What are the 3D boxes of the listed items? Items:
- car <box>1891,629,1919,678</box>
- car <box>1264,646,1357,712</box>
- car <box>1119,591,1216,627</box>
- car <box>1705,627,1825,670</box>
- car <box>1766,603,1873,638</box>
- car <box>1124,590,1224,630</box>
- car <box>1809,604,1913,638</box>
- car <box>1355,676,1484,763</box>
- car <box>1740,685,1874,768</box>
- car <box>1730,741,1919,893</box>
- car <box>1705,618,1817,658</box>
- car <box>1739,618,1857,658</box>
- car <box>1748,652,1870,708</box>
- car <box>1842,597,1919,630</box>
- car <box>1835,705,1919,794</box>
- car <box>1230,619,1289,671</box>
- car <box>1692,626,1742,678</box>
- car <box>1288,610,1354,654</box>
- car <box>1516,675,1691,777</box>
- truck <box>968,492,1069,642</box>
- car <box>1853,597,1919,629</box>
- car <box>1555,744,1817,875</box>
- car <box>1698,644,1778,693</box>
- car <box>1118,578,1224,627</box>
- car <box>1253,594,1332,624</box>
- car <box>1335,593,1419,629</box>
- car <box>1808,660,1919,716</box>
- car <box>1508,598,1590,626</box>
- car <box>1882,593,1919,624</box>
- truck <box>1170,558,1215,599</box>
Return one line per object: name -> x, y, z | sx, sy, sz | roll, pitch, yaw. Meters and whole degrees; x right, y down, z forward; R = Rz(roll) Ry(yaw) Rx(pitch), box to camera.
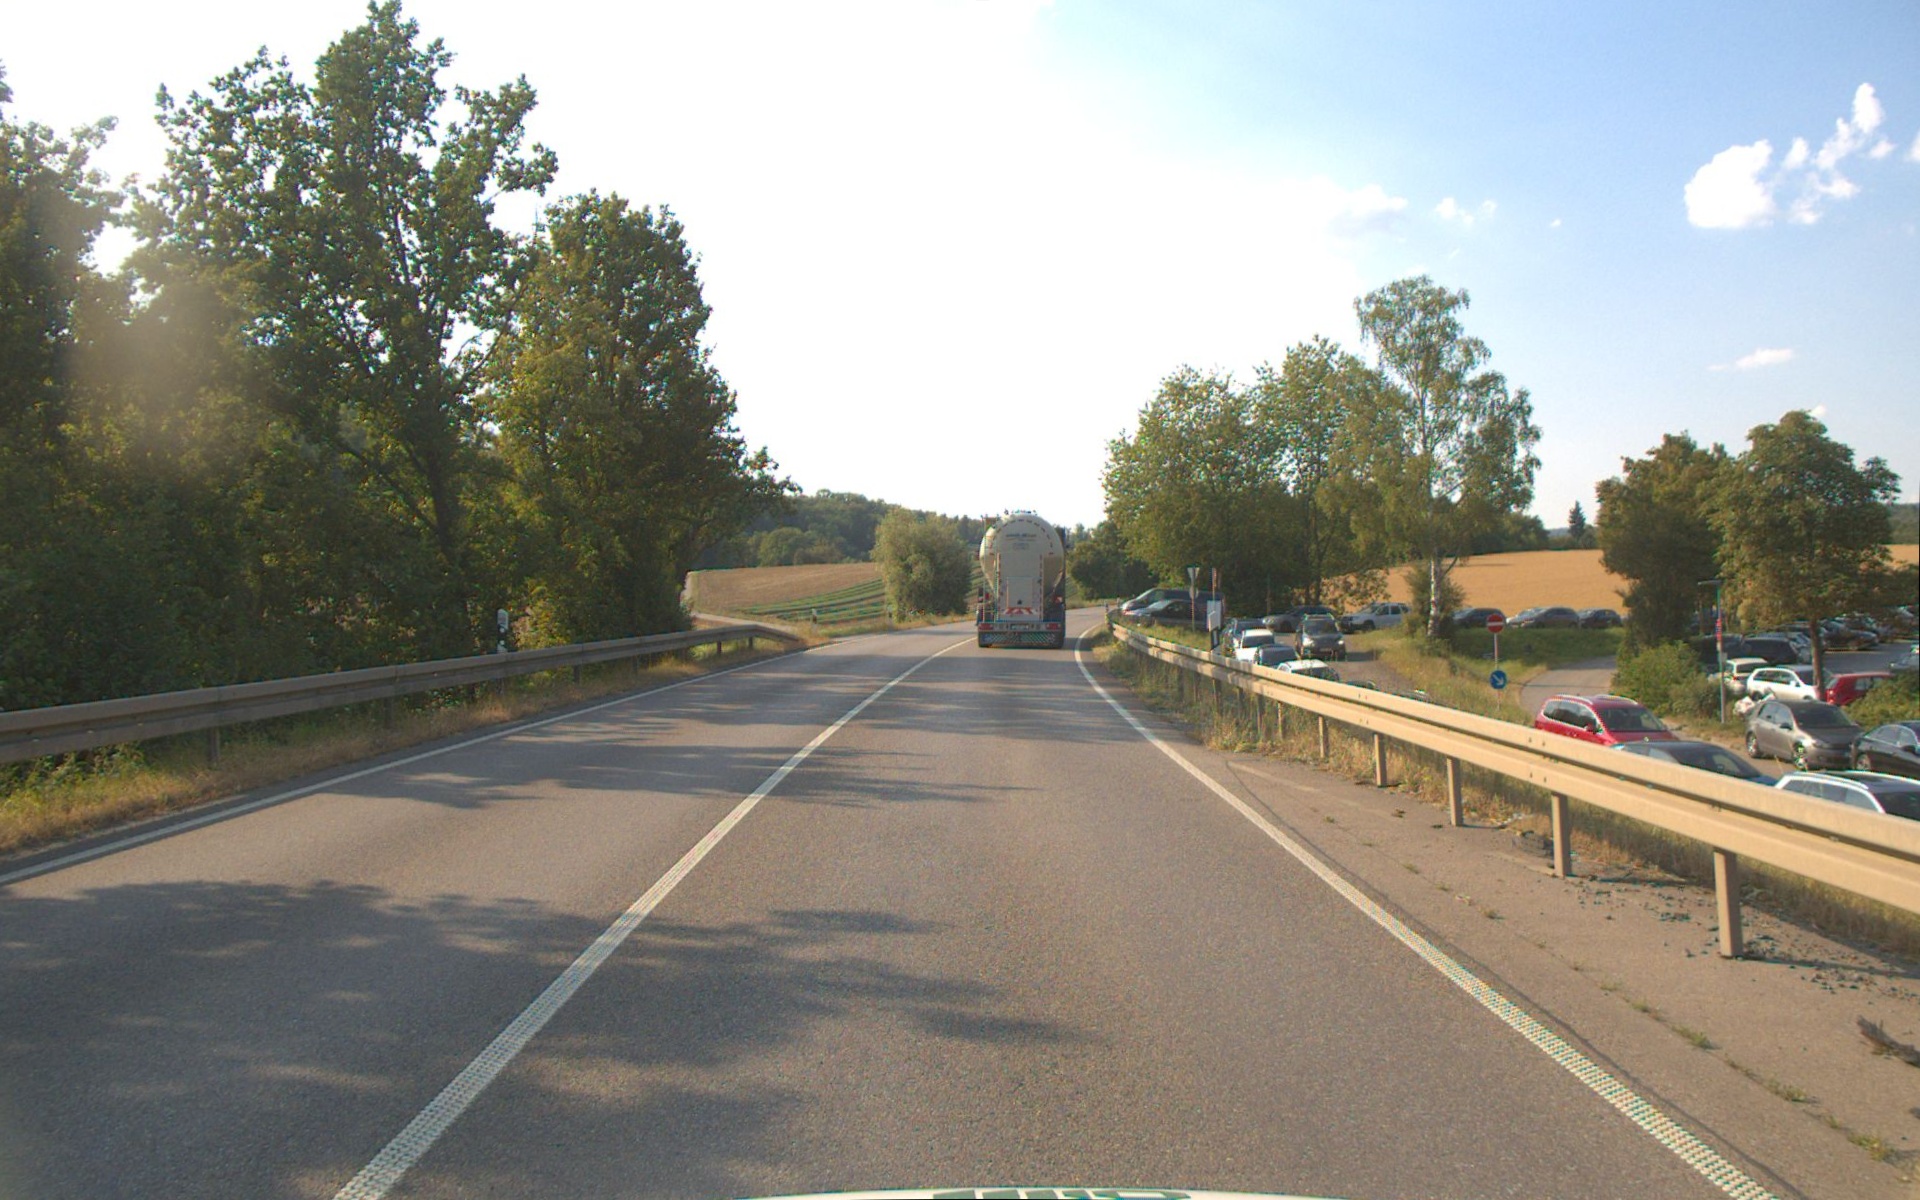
car -> 36.603, 1.992, 60.178 | 1.776, 1.720, 4.557 | -1, 1, -26
car -> 11.243, 2.498, 53.342 | 1.854, 1.586, 4.783 | -4, 2, 0
car -> 9.884, 0.444, 78.864 | 4.252, 1.424, 1.709 | 3, 1, -23
car -> 34.173, 2.029, 70.256 | 4.494, 1.720, 1.801 | 0, 0, 29
car -> 43.596, 1.008, 83.942 | 1.788, 1.720, 4.527 | -1, 1, -41
car -> 9.844, 0.458, 76.081 | 4.258, 1.535, 1.707 | 3, 1, -26
car -> 47.626, 1.079, 87.501 | 1.788, 1.720, 4.527 | -1, 1, -41
car -> 11.663, 3.002, 42.308 | 1.854, 1.586, 4.783 | -4, 2, 0
car -> 20.486, 3.024, 40.180 | 1.665, 1.422, 4.105 | -4, 2, 9
car -> 14.385, 3.322, 25.762 | 1.858, 1.586, 4.771 | -4, 2, -11
car -> 36.255, 1.680, 74.871 | 4.494, 1.720, 1.801 | 0, 0, 29
car -> 38.536, 1.730, 76.156 | 1.788, 1.720, 4.527 | -1, 1, -41
car -> 27.359, 2.542, 53.413 | 1.761, 1.570, 3.998 | -1, 1, -2
car -> 50.549, 0.733, 89.688 | 1.788, 1.720, 4.527 | -1, 1, -41
car -> 20.231, 3.128, 34.440 | 1.665, 1.423, 4.787 | -4, 0, 4
car -> 11.667, 1.710, 64.689 | 1.852, 1.586, 4.787 | -4, 2, 7
car -> 30.367, 2.044, 66.387 | 1.762, 1.874, 4.594 | -1, 1, 25
car -> 14.750, 1.294, 67.831 | 1.852, 1.704, 4.784 | -1, 0, 2
car -> 15.145, 2.910, 39.245 | 1.855, 1.716, 5.083 | -4, 2, -3
truck -> 2.000, -0.977, 53.276 | 2.832, 4.215, 13.177 | 0, 0, 3
car -> 52.426, 0.733, 92.018 | 1.788, 1.720, 4.527 | -1, 1, -41
car -> 13.403, 3.817, 30.910 | 1.861, 1.586, 4.763 | -4, 2, -15
car -> 28.038, 2.440, 59.729 | 1.652, 1.512, 4.296 | -1, 1, 12
car -> 10.497, 0.122, 82.589 | 5.033, 1.977, 1.976 | 5, 1, 4
car -> 17.388, 0.467, 86.496 | 3.665, 1.466, 1.800 | 1, 0, -21
car -> 22.338, 0.574, 88.614 | 4.146, 1.778, 1.799 | -2, 1, -22
car -> 27.333, 2.591, 48.939 | 3.684, 1.570, 1.656 | -1, 0, 11
car -> 32.249, 0.664, 90.540 | 4.530, 1.466, 1.792 | 1, 0, -32
car -> 55.244, 0.475, 94.085 | 1.788, 1.720, 4.527 | -1, 1, -41
truck -> 25.306, -2.392, 179.750 | 3.116, 4.301, 13.183 | -1, 1, 15
